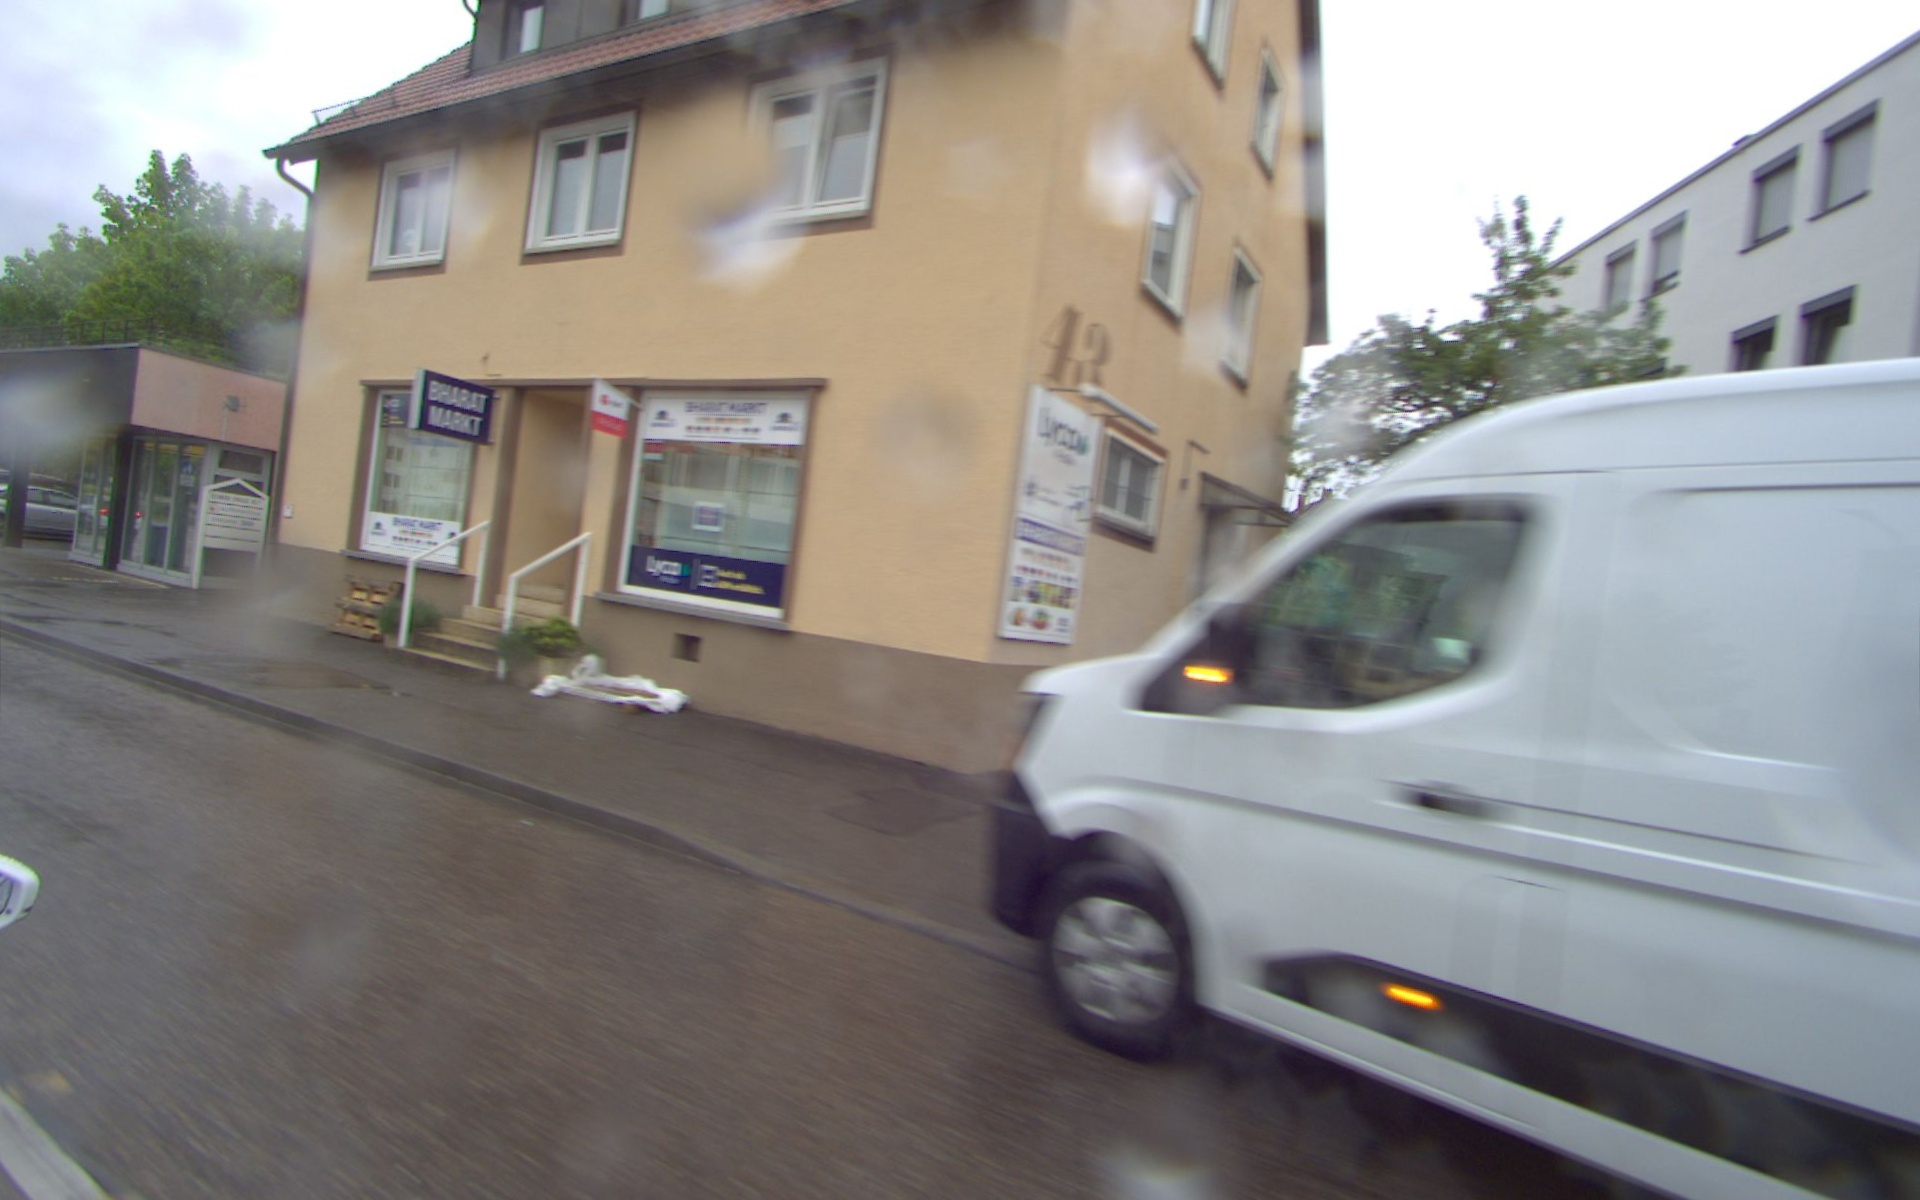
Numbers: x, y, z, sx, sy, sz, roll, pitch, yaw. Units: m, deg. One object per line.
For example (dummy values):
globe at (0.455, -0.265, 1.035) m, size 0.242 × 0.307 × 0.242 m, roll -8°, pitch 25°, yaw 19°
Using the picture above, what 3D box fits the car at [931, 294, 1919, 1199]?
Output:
car at (3.113, 0.638, 2.773) m, size 6.538 × 2.411 × 2.285 m, roll 5°, pitch 0°, yaw 44°

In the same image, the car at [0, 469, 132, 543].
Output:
car at (-29.179, -3.047, 31.895) m, size 1.847 × 1.894 × 4.093 m, roll 8°, pitch 1°, yaw 36°

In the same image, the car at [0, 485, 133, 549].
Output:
car at (-26.832, -2.482, 29.226) m, size 1.719 × 1.465 × 3.986 m, roll 8°, pitch 1°, yaw 36°
